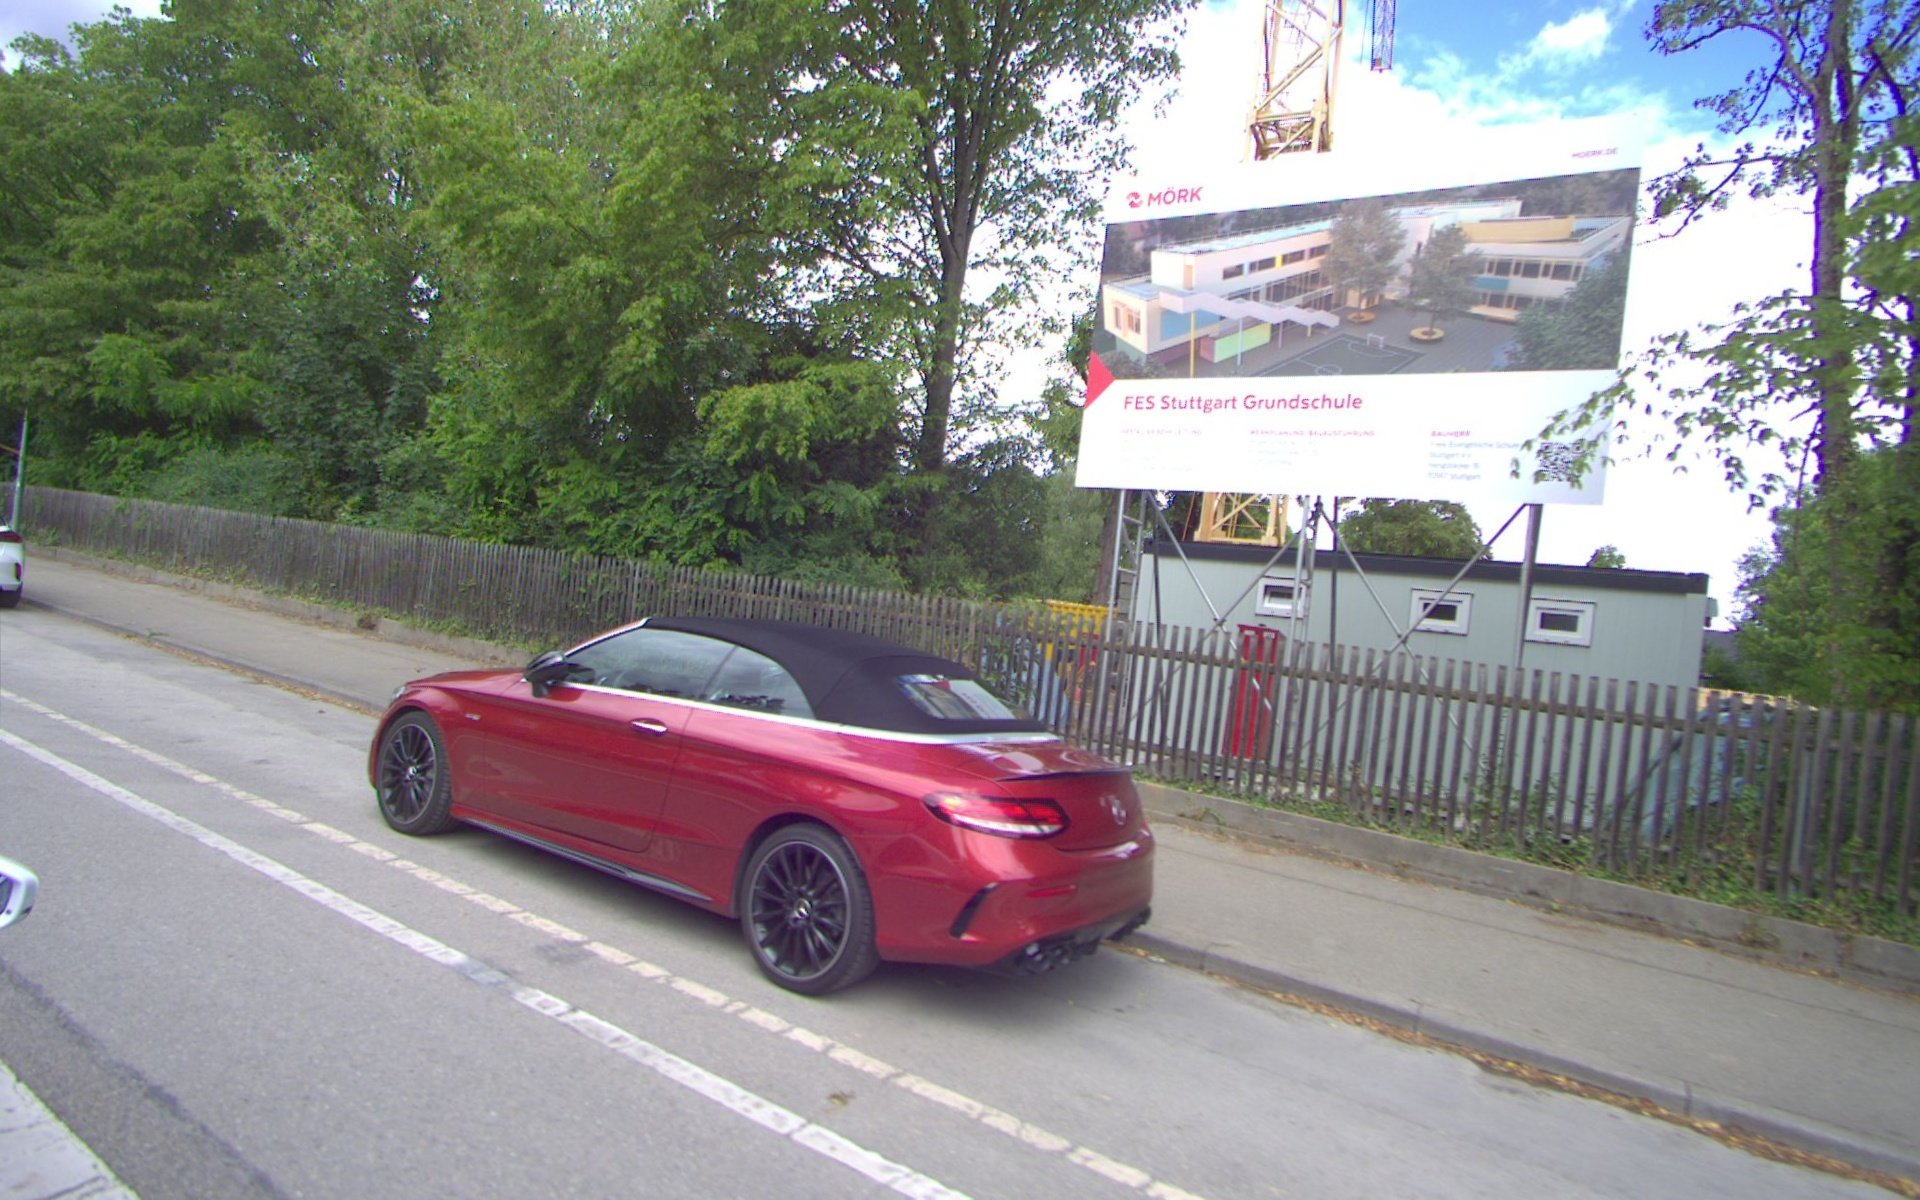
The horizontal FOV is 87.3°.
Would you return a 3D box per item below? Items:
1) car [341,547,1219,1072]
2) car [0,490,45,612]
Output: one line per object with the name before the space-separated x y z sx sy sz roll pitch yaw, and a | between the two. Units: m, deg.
car | -1.122 0.752 5.374 4.370 1.429 1.863 8 -2 32
car | -14.144 -0.854 13.437 3.964 1.528 1.770 6 -1 32
